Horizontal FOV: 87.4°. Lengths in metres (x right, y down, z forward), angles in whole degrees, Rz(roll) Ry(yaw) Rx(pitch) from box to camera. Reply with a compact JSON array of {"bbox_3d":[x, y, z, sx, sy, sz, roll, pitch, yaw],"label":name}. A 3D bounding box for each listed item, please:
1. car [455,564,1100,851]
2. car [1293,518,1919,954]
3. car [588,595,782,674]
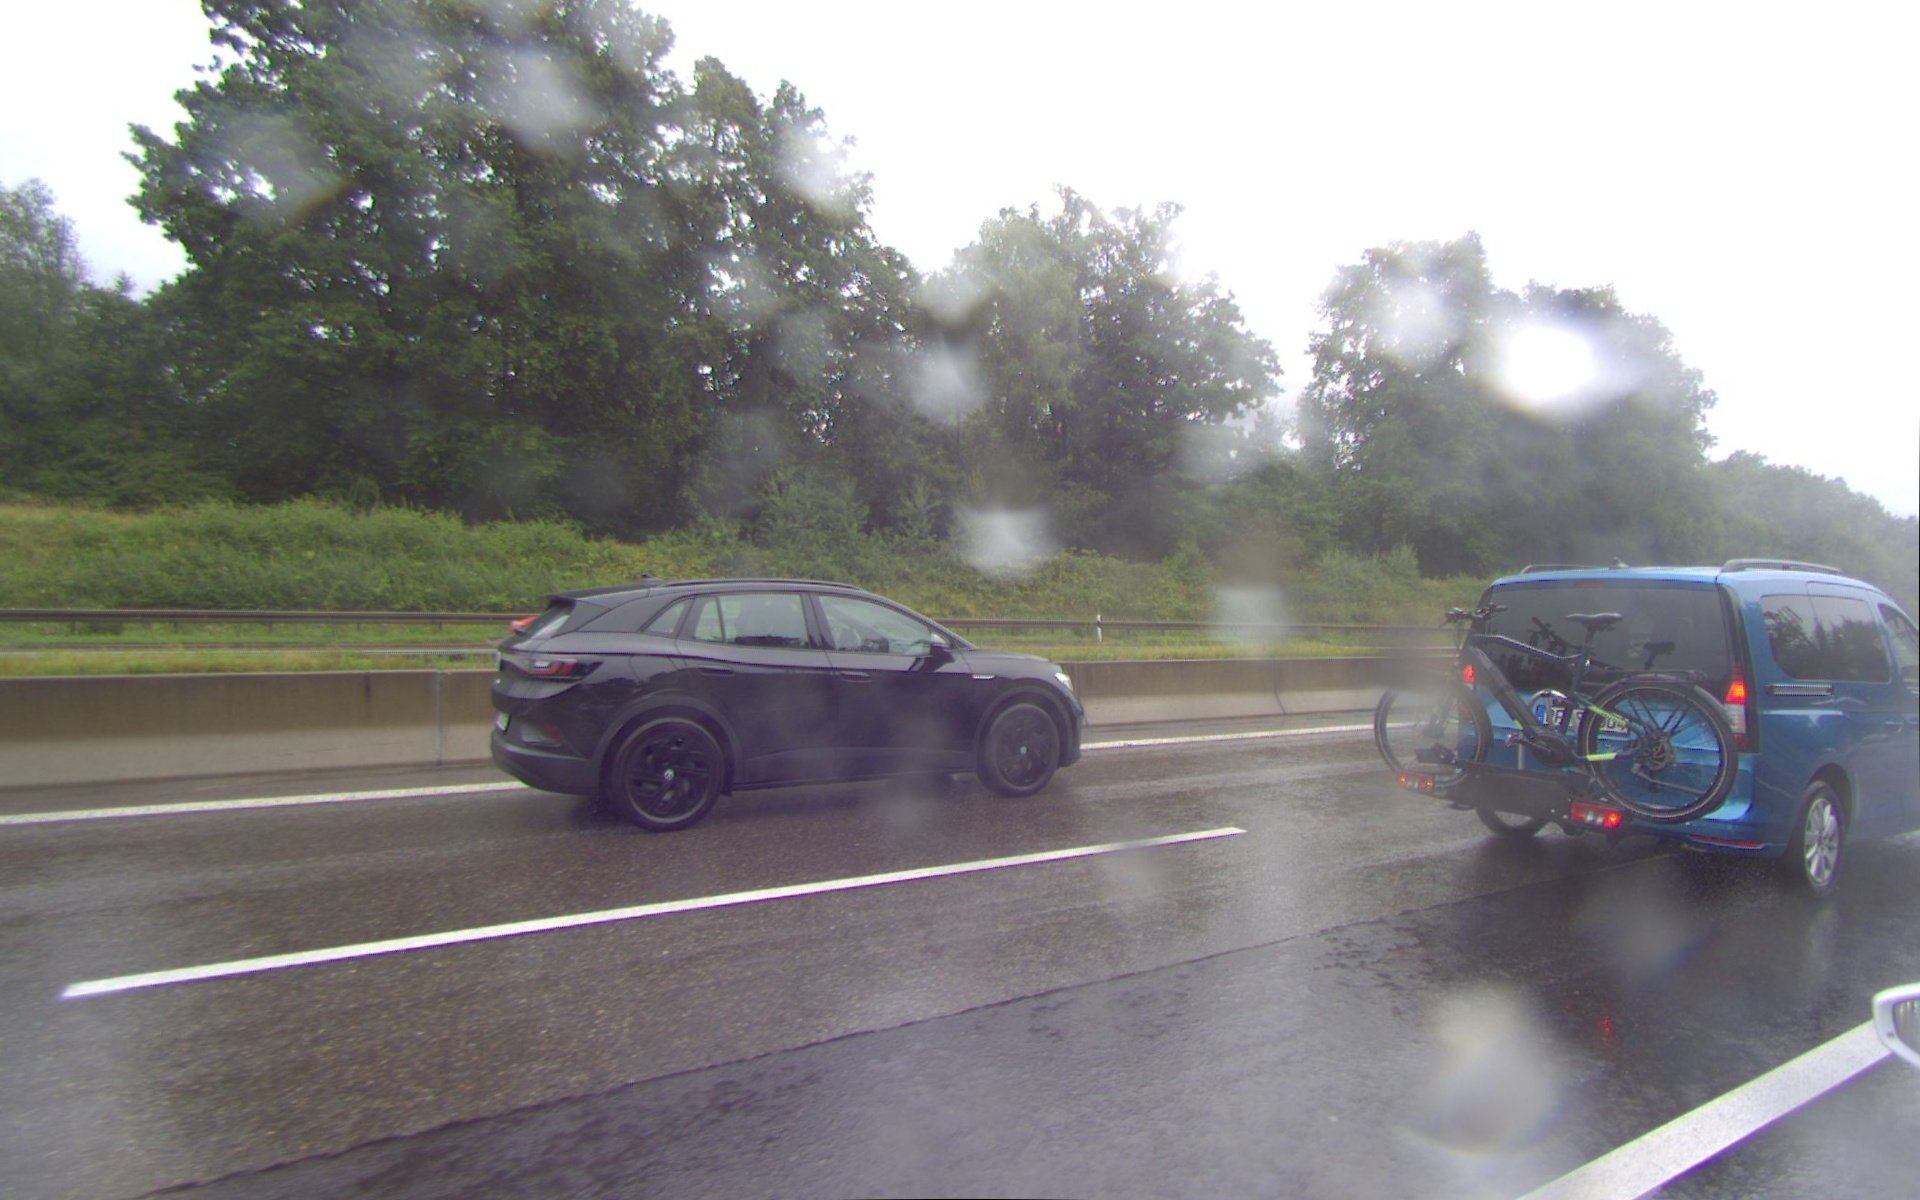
[{"bbox_3d":[-1.270,0.635,7.549,4.414,1.613,1.837,1,0,-30],"label":"car"},{"bbox_3d":[4.852,0.638,6.677,4.955,1.937,2.259,1,0,-30],"label":"car"},{"bbox_3d":[-6.193,0.750,22.682,3.898,1.613,1.837,1,0,-30],"label":"car"}]
